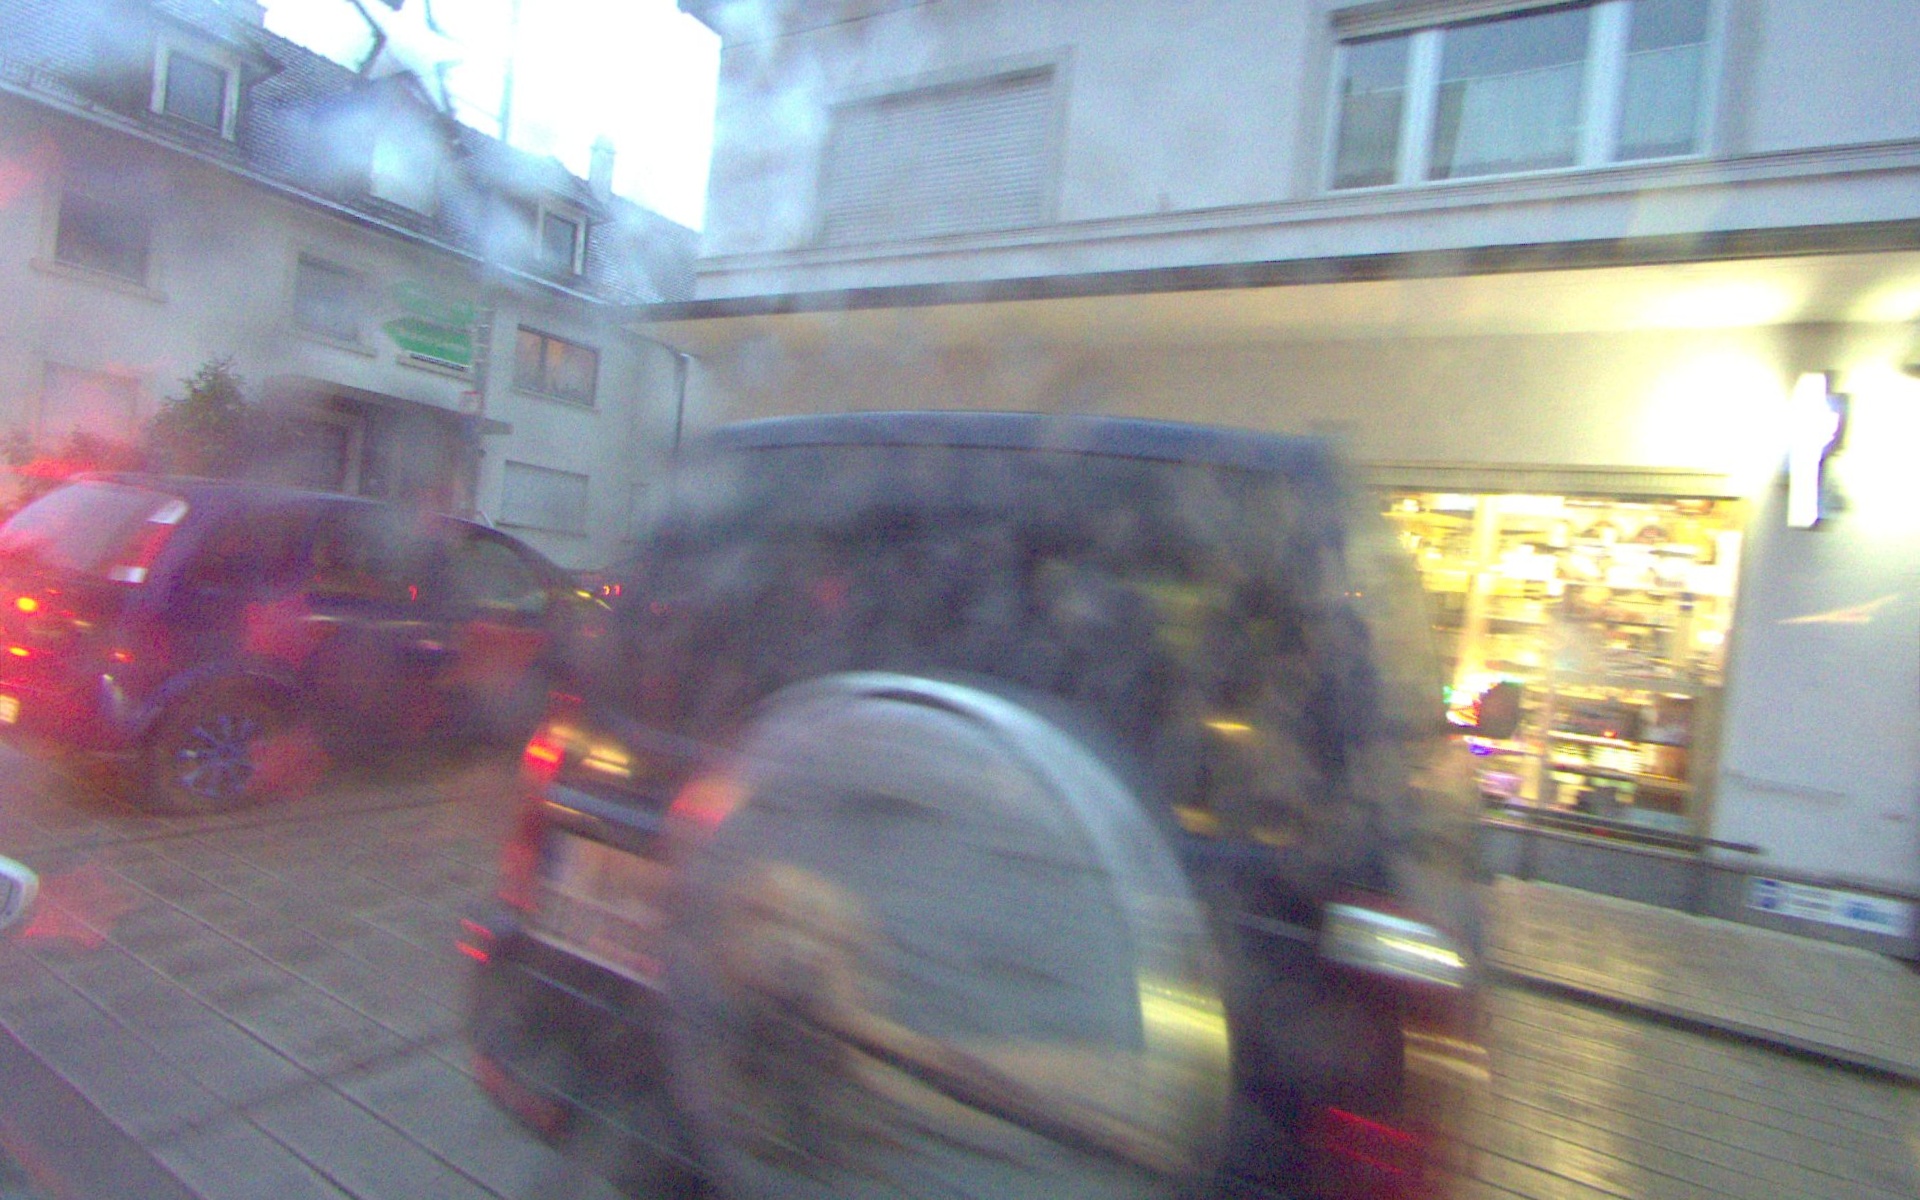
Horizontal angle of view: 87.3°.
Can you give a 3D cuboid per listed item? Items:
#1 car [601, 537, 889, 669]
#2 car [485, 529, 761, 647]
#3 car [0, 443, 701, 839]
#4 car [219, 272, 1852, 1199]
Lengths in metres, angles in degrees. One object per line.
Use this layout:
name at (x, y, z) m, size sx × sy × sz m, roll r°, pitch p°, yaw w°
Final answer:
car at (-3.087, 0.122, 15.254) m, size 1.967 × 1.590 × 3.991 m, roll 7°, pitch 0°, yaw 31°
car at (-5.498, -0.129, 16.894) m, size 1.905 × 1.543 × 3.989 m, roll 7°, pitch 0°, yaw 33°
car at (-3.606, 0.184, 6.190) m, size 1.652 × 1.599 × 3.877 m, roll 7°, pitch 1°, yaw 26°
car at (0.730, 0.658, 3.243) m, size 1.911 × 1.798 × 4.612 m, roll 8°, pitch 1°, yaw 27°
